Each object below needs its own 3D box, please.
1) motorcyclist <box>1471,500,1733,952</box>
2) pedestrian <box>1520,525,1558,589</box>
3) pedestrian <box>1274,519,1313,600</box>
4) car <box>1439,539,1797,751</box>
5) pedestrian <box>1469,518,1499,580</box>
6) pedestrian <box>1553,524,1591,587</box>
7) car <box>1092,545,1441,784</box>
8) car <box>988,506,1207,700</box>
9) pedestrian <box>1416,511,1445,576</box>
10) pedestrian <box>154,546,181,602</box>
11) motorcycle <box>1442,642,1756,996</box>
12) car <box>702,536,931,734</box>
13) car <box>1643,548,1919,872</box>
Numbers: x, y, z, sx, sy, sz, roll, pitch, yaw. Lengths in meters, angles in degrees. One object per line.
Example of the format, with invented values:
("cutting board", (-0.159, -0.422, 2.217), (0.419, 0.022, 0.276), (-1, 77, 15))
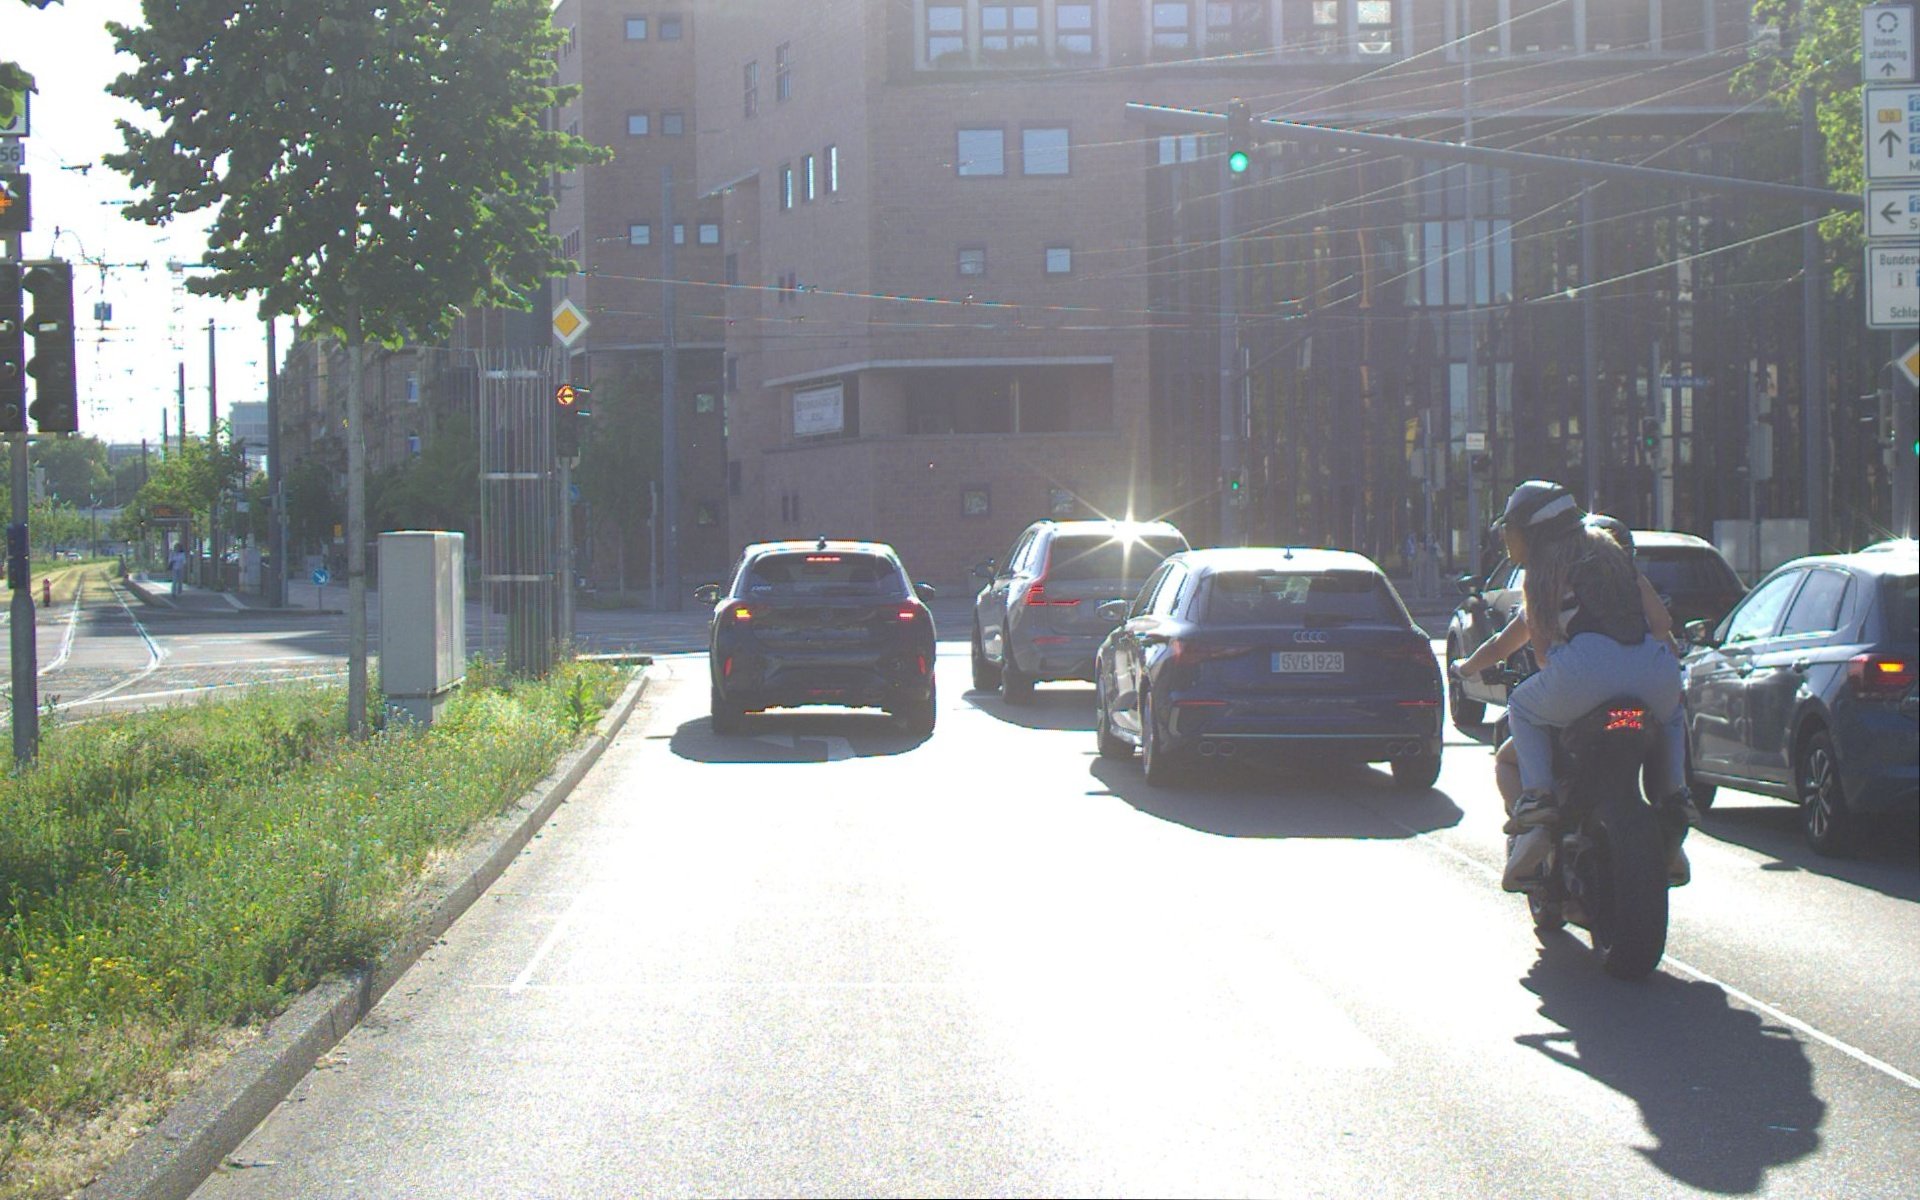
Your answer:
("motorcyclist", (2.251, 0.417, 12.164), (0.745, 1.525, 1.021), (-1, 1, 2))
("pedestrian", (14.829, -1.101, 88.098), (0.900, 1.611, 0.560), (-1, 1, 6))
("pedestrian", (7.304, -0.881, 75.280), (0.707, 1.753, 0.560), (0, 1, 23))
("car", (4.828, 0.277, 25.768), (1.807, 1.452, 4.000), (0, 1, -2))
("pedestrian", (13.711, -1.326, 89.937), (0.738, 1.611, 0.560), (-1, 1, 6))
("pedestrian", (15.901, -1.161, 89.342), (0.900, 1.611, 0.560), (-1, 1, 6))
("car", (1.834, 0.336, 21.678), (1.737, 1.345, 4.000), (-1, 1, -1))
("car", (1.202, -0.009, 31.611), (1.737, 1.645, 4.000), (-1, 1, -1))
("pedestrian", (10.309, -1.235, 75.336), (0.529, 1.425, 0.598), (-1, 1, -3))
("pedestrian", (-23.442, -0.764, 101.690), (0.742, 1.634, 0.768), (-1, 1, -15))
("motorcycle", (2.275, 0.744, 12.477), (0.775, 1.111, 1.969), (-1, 1, 0))
("car", (-1.097, 0.219, 27.102), (1.649, 1.428, 4.000), (-1, 1, -1))
("car", (4.864, 0.475, 17.639), (1.807, 1.452, 4.000), (0, 1, -2))
